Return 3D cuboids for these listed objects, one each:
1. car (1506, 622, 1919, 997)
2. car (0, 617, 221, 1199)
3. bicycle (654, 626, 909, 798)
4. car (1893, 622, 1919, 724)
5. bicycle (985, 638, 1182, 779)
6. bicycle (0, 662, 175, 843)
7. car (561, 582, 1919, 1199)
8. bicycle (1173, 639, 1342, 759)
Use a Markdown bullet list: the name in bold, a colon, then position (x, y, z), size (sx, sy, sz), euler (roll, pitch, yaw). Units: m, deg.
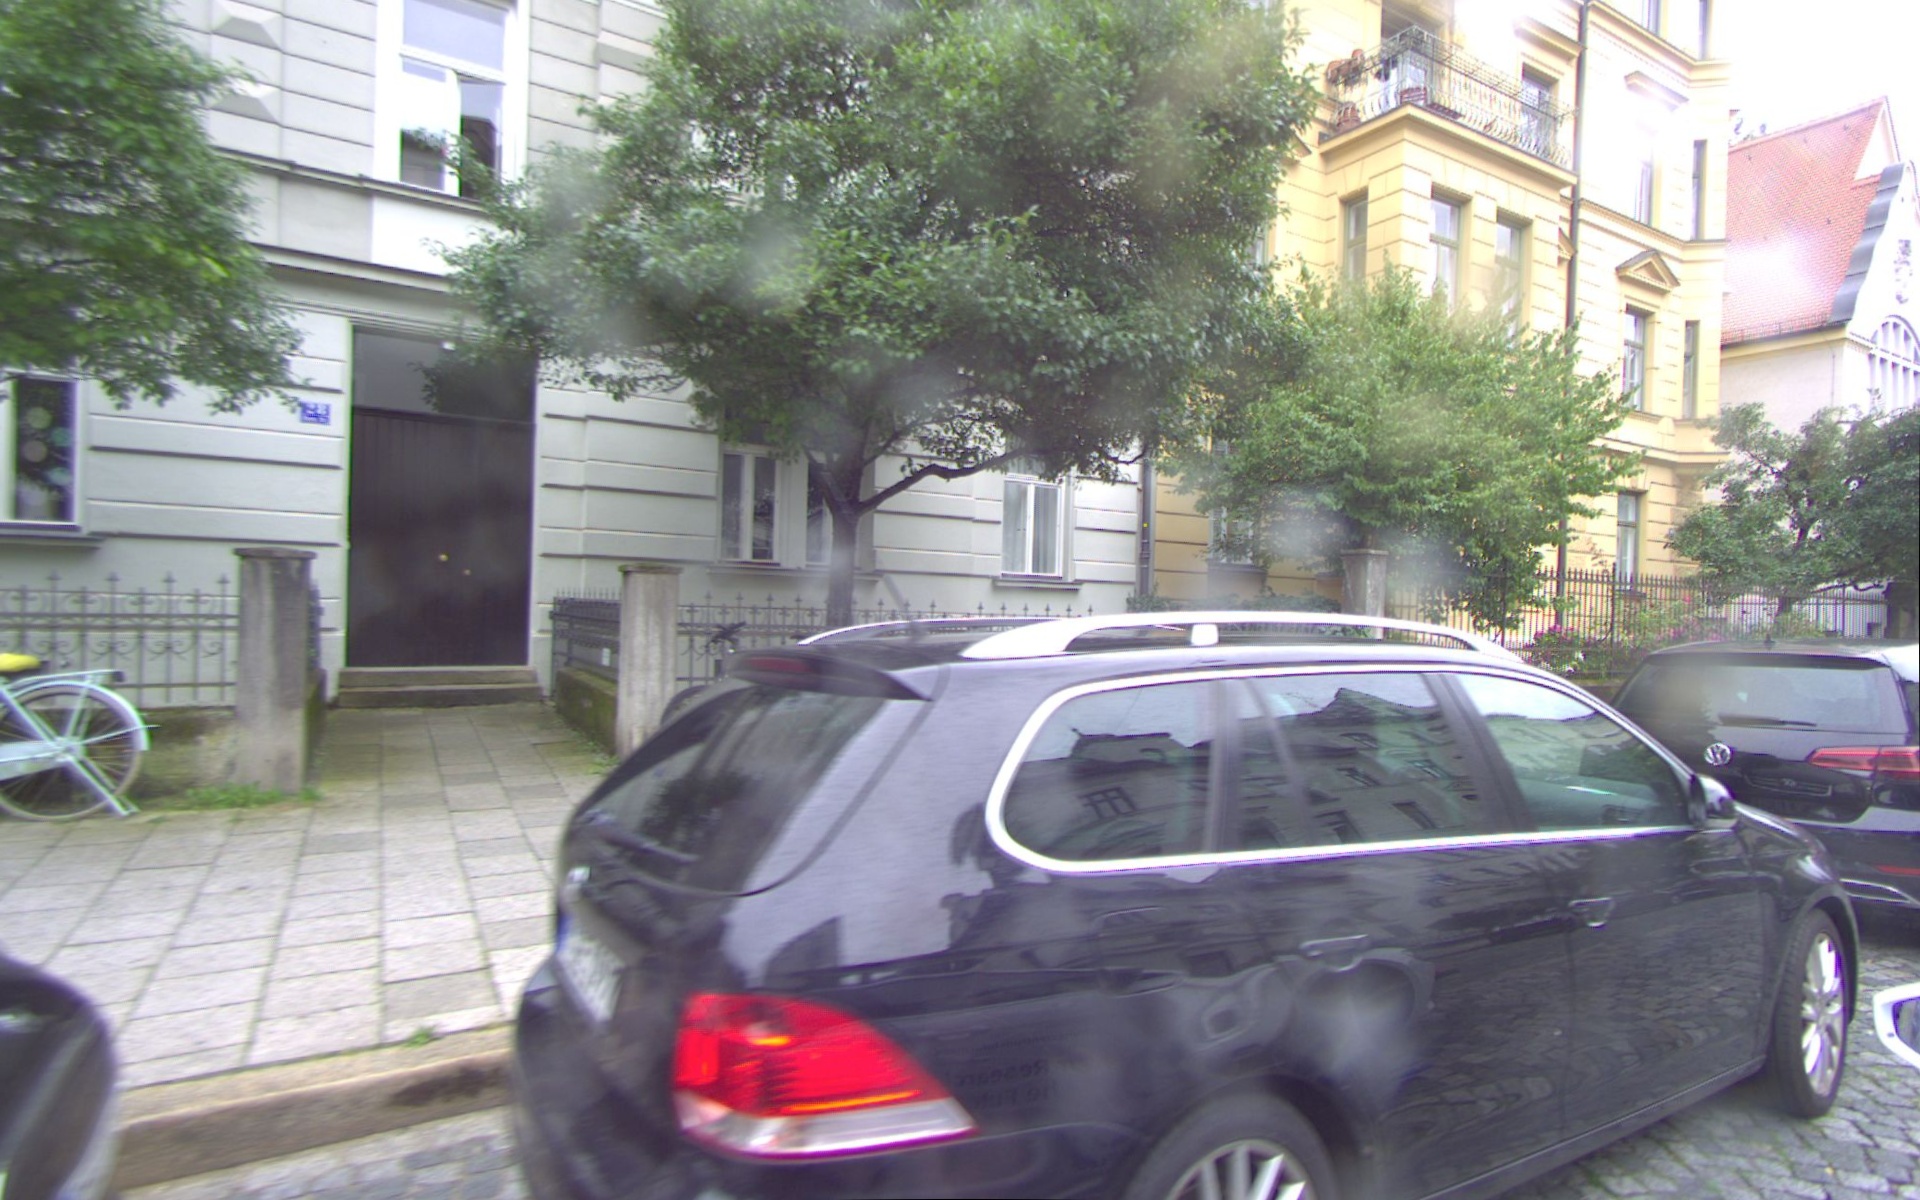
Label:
- **car**: position (5.462, 0.969, 6.012), size (4.591, 1.529, 1.809), euler (2, -4, -32)
- **car**: position (-3.189, 0.747, 0.743), size (4.088, 1.519, 1.730), euler (2, -2, -32)
- **bicycle**: position (-1.304, 0.797, 7.492), size (1.769, 1.139, 0.506), euler (2, 3, -31)
- **car**: position (16.258, 1.138, 15.300), size (4.338, 1.485, 1.832), euler (2, 1, -31)
- **bicycle**: position (1.113, 0.923, 8.847), size (1.769, 1.113, 0.431), euler (2, 3, -31)
- **bicycle**: position (-5.227, 0.784, 5.198), size (1.769, 0.884, 0.436), euler (2, 3, -31)
- **car**: position (1.231, 0.803, 3.176), size (4.454, 1.519, 1.803), euler (2, -2, -29)
- **bicycle**: position (2.936, 0.947, 9.859), size (1.739, 1.065, 0.471), euler (2, 3, -31)
